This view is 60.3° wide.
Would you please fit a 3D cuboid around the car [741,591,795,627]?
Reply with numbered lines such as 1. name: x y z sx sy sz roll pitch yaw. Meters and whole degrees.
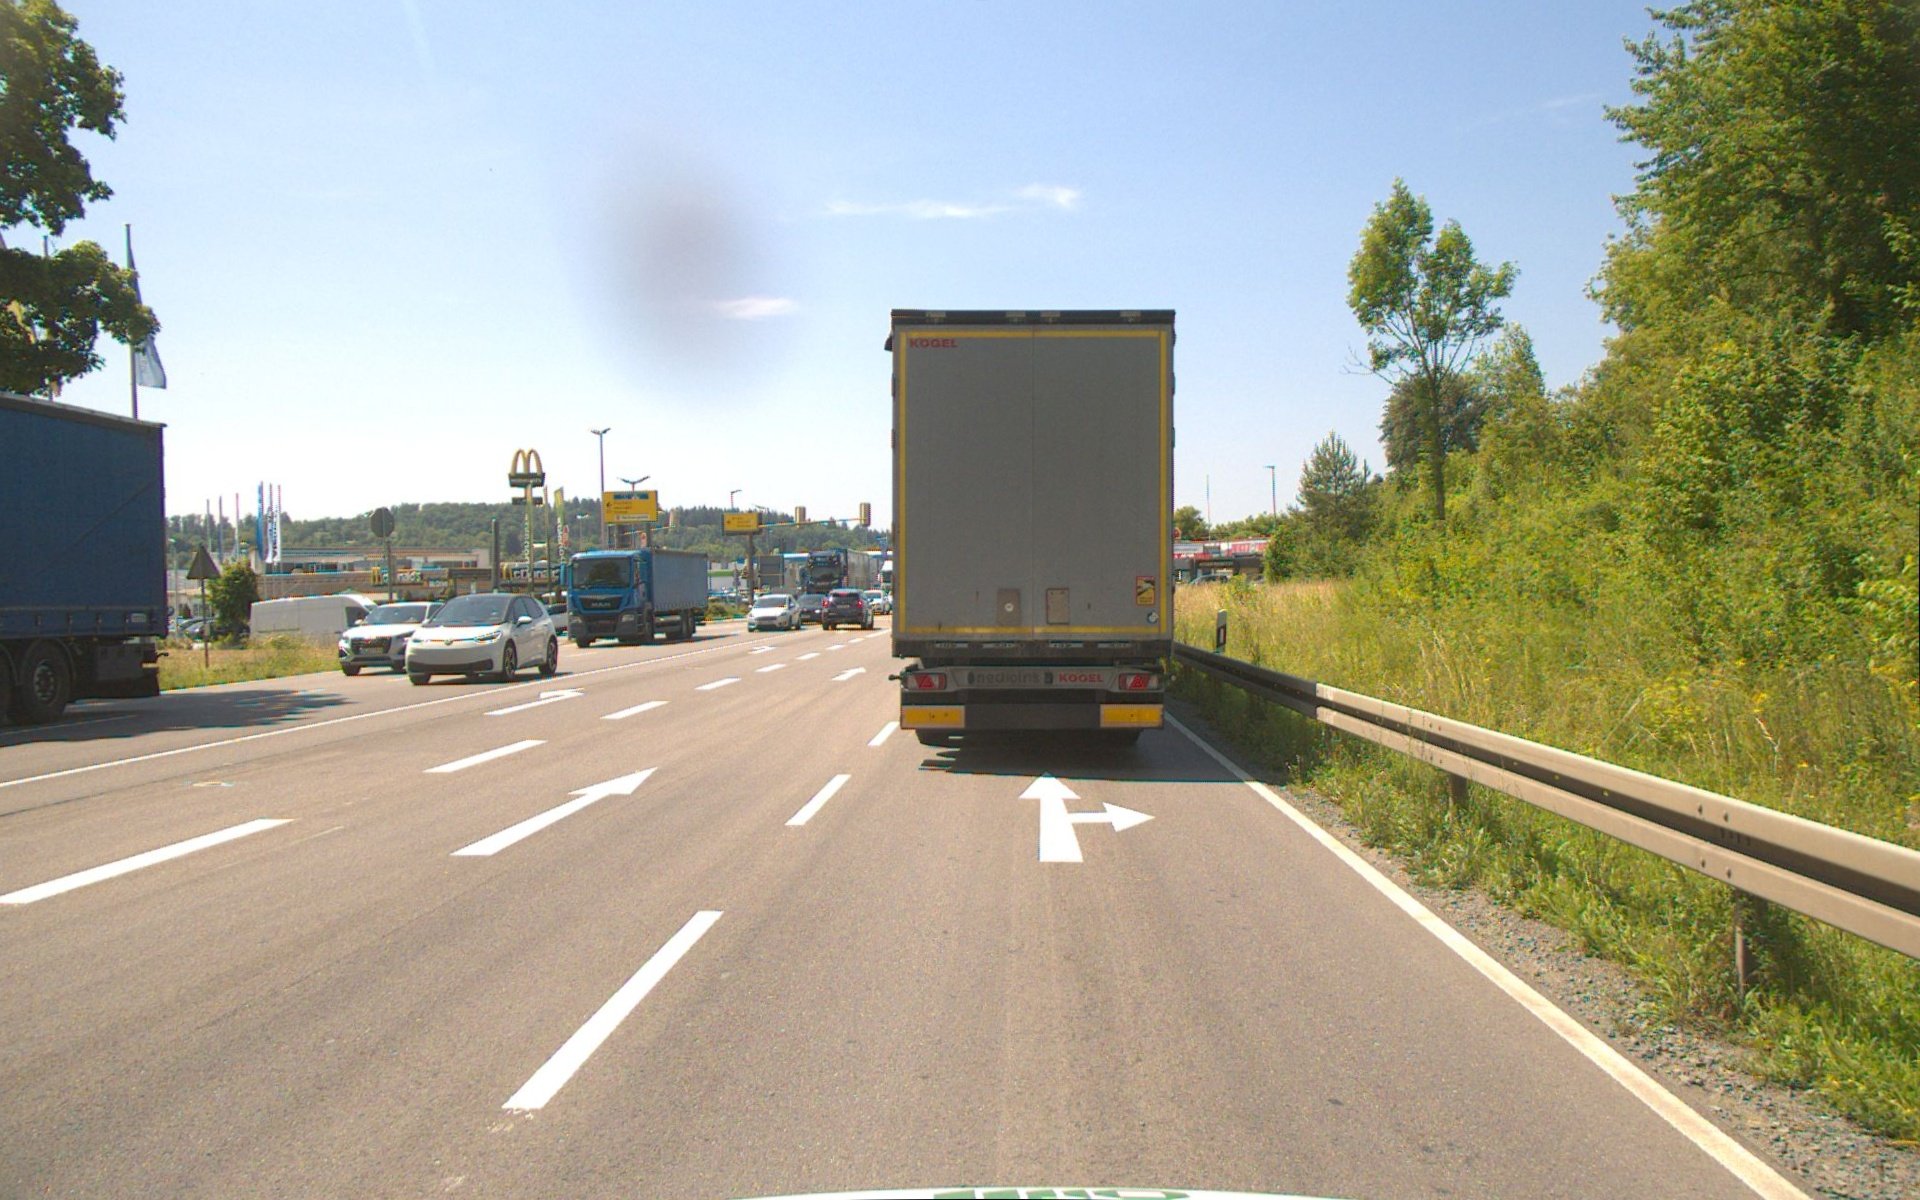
1. car: -7.958 0.344 69.017 1.752 1.451 4.263 0 0 0

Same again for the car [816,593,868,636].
1. car: -4.782 0.560 67.613 1.757 1.655 4.369 -1 0 0

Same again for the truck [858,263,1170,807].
1. truck: 0.630 -0.459 22.678 2.699 4.720 16.656 0 -1 1

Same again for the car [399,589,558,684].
1. car: -8.844 0.621 30.756 1.756 1.548 4.186 -2 1 -1

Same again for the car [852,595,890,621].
1. car: -5.527 0.493 102.885 1.772 1.535 4.949 -1 0 3

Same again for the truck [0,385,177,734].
1. truck: -13.238 -0.466 16.100 2.907 4.250 16.577 -1 0 1

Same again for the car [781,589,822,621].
1. car: -7.567 0.266 79.227 1.628 1.428 4.015 0 -2 -1

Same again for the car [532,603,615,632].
1. car: -20.092 0.921 86.064 1.758 1.506 3.989 -1 -1 42

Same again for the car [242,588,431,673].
1. car: -22.765 1.081 60.595 5.875 2.530 2.193 -5 1 -4

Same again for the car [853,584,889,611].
1. car: -5.495 -0.123 102.531 1.704 1.529 4.407 -3 -1 2

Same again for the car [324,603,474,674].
1. car: -12.362 0.812 36.725 1.725 1.453 4.181 -1 0 2

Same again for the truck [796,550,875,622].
1. truck: -8.264 -0.909 112.712 3.080 4.425 17.549 -1 0 3

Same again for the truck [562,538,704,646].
1. truck: -11.367 -0.242 58.720 2.788 3.410 11.480 -1 0 0

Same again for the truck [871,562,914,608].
1. truck: -6.200 -1.349 154.571 2.873 4.019 14.241 -1 0 2
